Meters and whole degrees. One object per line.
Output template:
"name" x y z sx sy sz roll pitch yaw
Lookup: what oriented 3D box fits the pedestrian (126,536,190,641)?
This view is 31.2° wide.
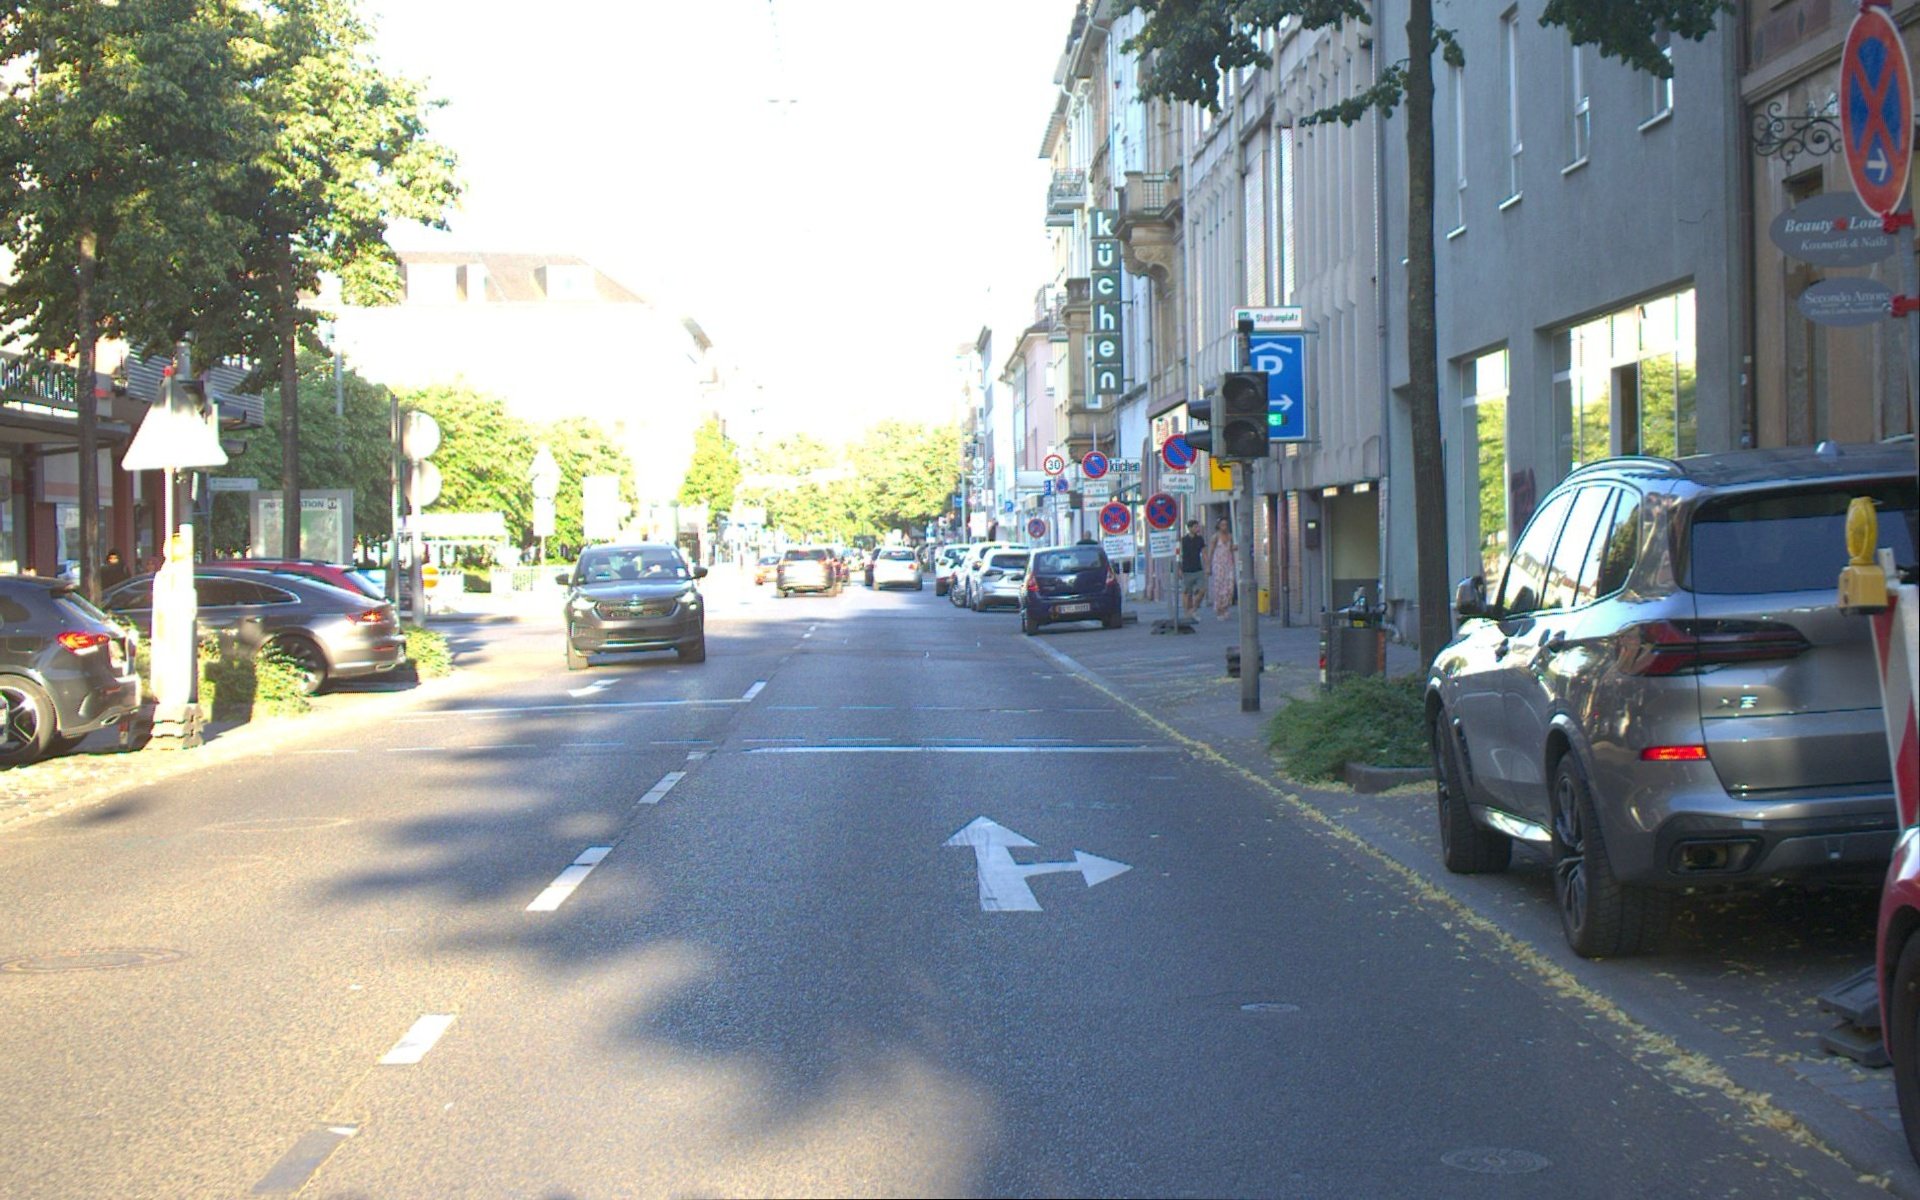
"pedestrian" -11.699 -0.162 50.151 0.734 1.523 0.876 0 -1 -1

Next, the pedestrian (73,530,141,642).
"pedestrian" -12.401 -0.201 49.975 0.772 1.602 0.876 0 -1 -1

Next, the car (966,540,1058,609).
"car" 1.176 -0.585 79.732 1.759 1.531 4.822 1 0 -3

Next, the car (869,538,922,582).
"car" -2.411 -1.497 127.962 1.896 1.576 4.000 1 1 -2

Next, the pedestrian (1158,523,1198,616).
"pedestrian" 3.750 -0.526 59.211 0.604 1.594 0.774 -1 1 -2

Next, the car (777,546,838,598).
"car" -4.911 -0.916 111.139 1.896 1.644 4.104 -1 1 -2

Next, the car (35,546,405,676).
"car" -8.869 0.116 41.435 4.072 1.531 1.884 0 1 -1

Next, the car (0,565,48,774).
"car" -8.525 0.495 23.458 4.097 1.398 1.843 -1 1 1

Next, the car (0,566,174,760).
"car" -8.133 0.446 25.772 4.106 1.398 1.884 0 1 -3

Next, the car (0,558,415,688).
"car" -8.487 0.247 38.383 4.570 1.403 1.822 0 1 -2

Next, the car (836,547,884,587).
"car" -4.116 -1.368 141.153 1.896 1.575 3.852 2 1 -2

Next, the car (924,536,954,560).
"car" -1.424 -3.494 229.835 1.896 1.575 3.852 -1 1 -2

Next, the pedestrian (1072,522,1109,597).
"pedestrian" 3.256 -1.010 85.601 0.772 1.821 1.011 -3 1 -2

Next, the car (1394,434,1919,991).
"car" 3.061 0.286 13.371 2.038 1.731 4.711 -3 1 0

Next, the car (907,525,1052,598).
"car" 0.459 -0.971 87.220 1.993 1.755 4.466 -2 1 -23

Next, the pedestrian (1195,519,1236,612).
"pedestrian" 4.404 -0.600 59.295 0.604 1.594 0.774 -1 1 -2

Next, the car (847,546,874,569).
"car" -6.839 -2.943 236.196 1.779 1.542 4.000 -1 1 -2

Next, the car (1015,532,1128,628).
"car" 1.958 -0.375 61.287 1.759 1.531 4.000 -4 1 0

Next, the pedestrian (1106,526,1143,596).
"pedestrian" 4.091 -0.969 85.627 0.772 1.705 1.042 -3 1 -2

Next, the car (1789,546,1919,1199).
"car" 3.078 0.610 6.615 1.729 1.482 3.901 -3 1 -4

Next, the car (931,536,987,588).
"car" -0.046 -1.256 113.629 1.729 1.645 4.285 1 1 -2

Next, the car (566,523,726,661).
"car" -4.230 -0.159 46.910 1.861 1.686 4.461 -1 2 -2
